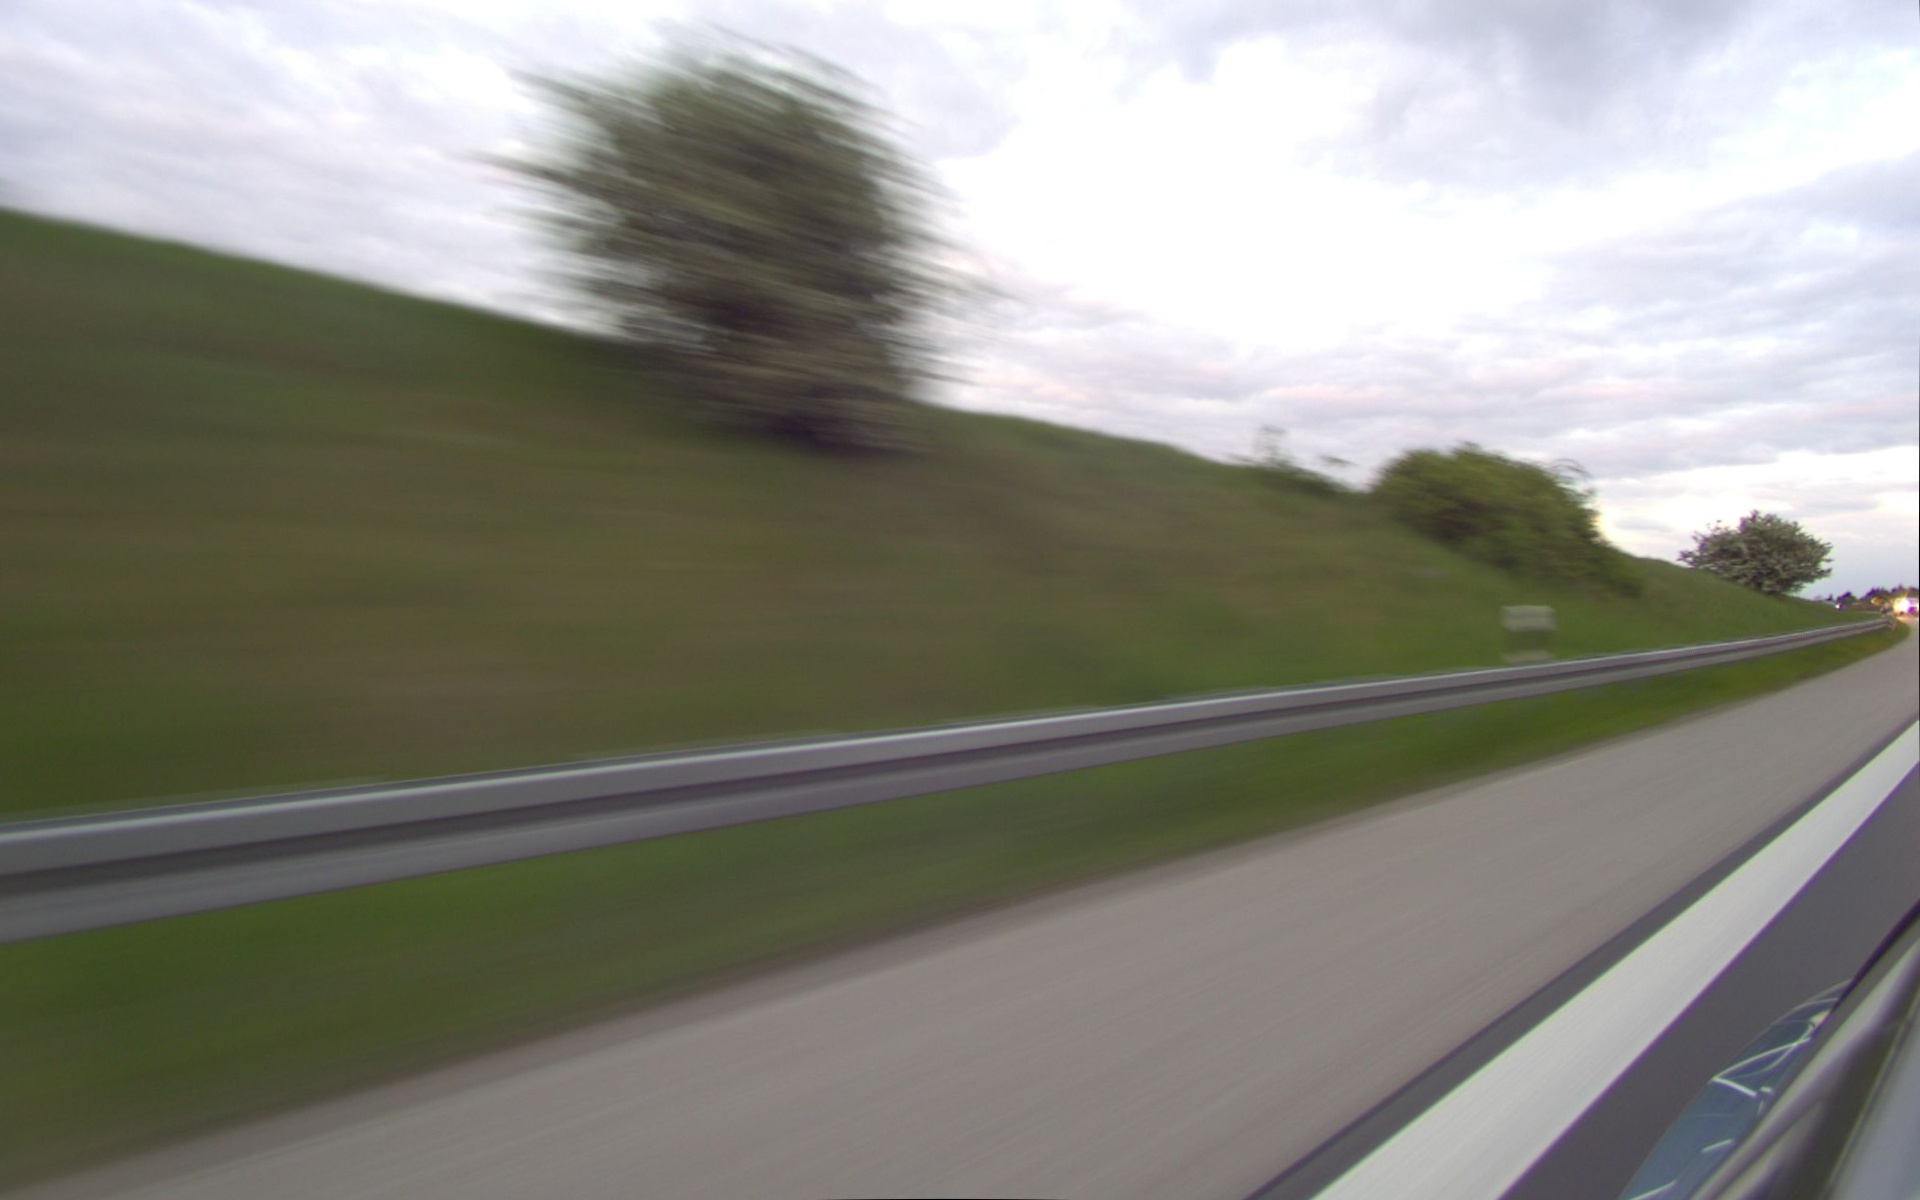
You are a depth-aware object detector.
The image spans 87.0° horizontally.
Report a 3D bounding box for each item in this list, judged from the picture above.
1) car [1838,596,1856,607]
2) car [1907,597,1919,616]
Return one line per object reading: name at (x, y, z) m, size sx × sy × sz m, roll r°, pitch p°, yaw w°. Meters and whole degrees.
car at (141.208, 0.217, 161.130) m, size 1.793 × 1.665 × 4.041 m, roll 2°, pitch 1°, yaw 36°
car at (99.647, 0.687, 104.978) m, size 1.913 × 1.860 × 3.940 m, roll 3°, pitch 2°, yaw 41°
